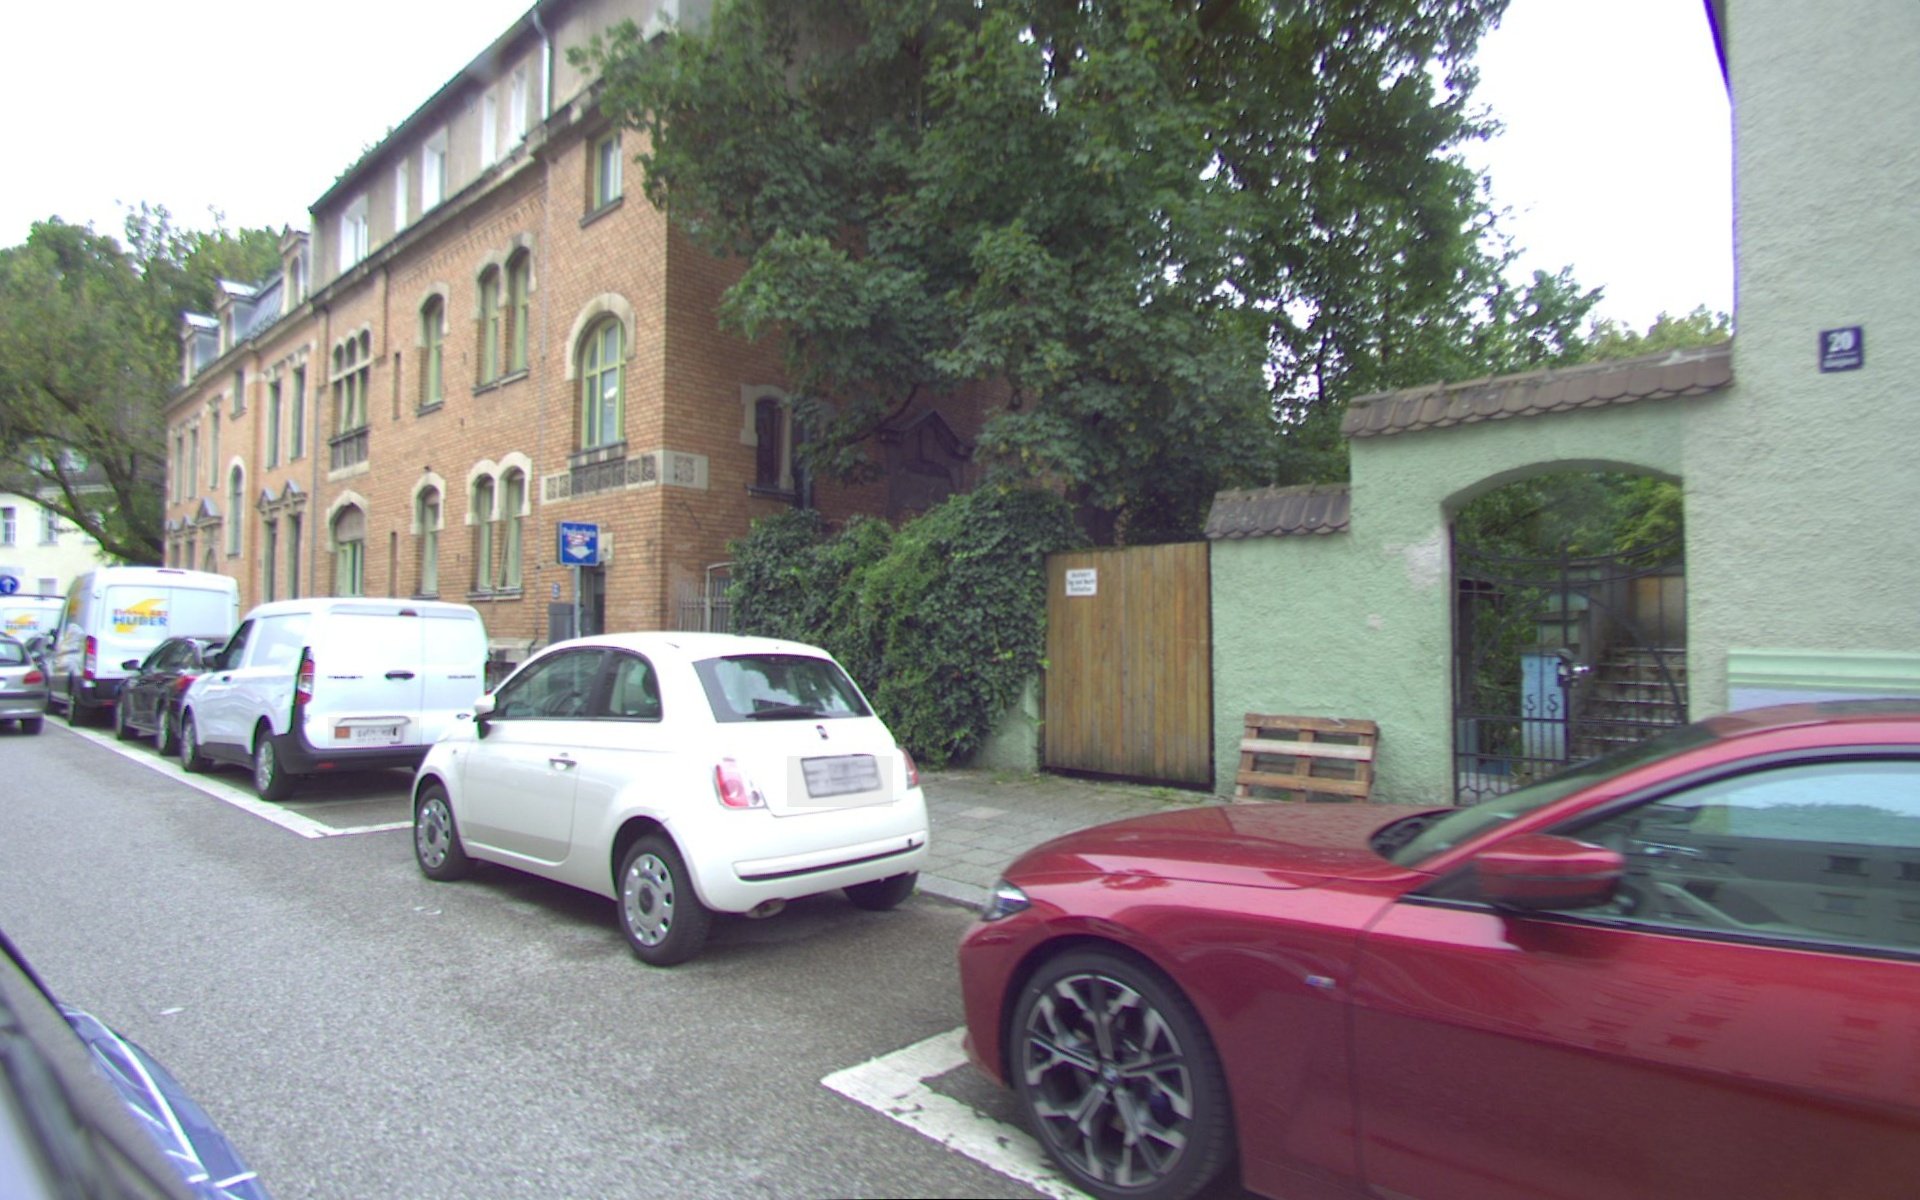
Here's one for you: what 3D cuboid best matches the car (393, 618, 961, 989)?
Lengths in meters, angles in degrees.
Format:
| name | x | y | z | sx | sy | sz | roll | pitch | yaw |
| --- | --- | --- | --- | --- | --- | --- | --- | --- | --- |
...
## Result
| name | x | y | z | sx | sy | sz | roll | pitch | yaw |
| --- | --- | --- | --- | --- | --- | --- | --- | --- | --- |
| car | -1.731 | 0.889 | 5.709 | 3.311 | 1.478 | 1.458 | -2 | -4 | 40 |

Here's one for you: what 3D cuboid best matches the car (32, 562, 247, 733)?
| name | x | y | z | sx | sy | sz | roll | pitch | yaw |
| --- | --- | --- | --- | --- | --- | --- | --- | --- | --- |
| car | -14.100 | 0.808 | 17.264 | 5.222 | 2.497 | 1.960 | -2 | -5 | 42 |

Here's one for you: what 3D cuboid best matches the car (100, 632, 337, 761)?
| name | x | y | z | sx | sy | sz | roll | pitch | yaw |
| --- | --- | --- | --- | --- | --- | --- | --- | --- | --- |
| car | -9.965 | 1.194 | 13.481 | 4.144 | 1.454 | 1.672 | -2 | -5 | 42 |

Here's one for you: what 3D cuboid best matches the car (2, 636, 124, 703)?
| name | x | y | z | sx | sy | sz | roll | pitch | yaw |
| --- | --- | --- | --- | --- | --- | --- | --- | --- | --- |
| car | -21.503 | 1.639 | 24.224 | 3.983 | 1.454 | 1.672 | -2 | -5 | 42 |

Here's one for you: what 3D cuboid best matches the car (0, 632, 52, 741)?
| name | x | y | z | sx | sy | sz | roll | pitch | yaw |
| --- | --- | --- | --- | --- | --- | --- | --- | --- | --- |
| car | -14.283 | 1.182 | 14.477 | 3.612 | 1.422 | 1.564 | -1 | -3 | 43 |

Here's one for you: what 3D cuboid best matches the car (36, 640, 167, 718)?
| name | x | y | z | sx | sy | sz | roll | pitch | yaw |
| --- | --- | --- | --- | --- | --- | --- | --- | --- | --- |
| car | -17.597 | 1.569 | 20.692 | 3.540 | 1.454 | 1.506 | -2 | -5 | 42 |

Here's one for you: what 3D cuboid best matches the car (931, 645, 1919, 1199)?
| name | x | y | z | sx | sy | sz | roll | pitch | yaw |
| --- | --- | --- | --- | --- | --- | --- | --- | --- | --- |
| car | 2.173 | 0.883 | 2.256 | 4.331 | 1.423 | 1.841 | -1 | -4 | 40 |

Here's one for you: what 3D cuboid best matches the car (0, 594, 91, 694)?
| name | x | y | z | sx | sy | sz | roll | pitch | yaw |
| --- | --- | --- | --- | --- | --- | --- | --- | --- | --- |
| car | -25.968 | 1.263 | 28.120 | 4.420 | 2.560 | 2.090 | -3 | -7 | 43 |

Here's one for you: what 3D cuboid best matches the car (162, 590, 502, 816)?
| name | x | y | z | sx | sy | sz | roll | pitch | yaw |
| --- | --- | --- | --- | --- | --- | --- | --- | --- | --- |
| car | -6.412 | 0.925 | 10.157 | 4.143 | 1.817 | 1.672 | -2 | -5 | 41 |
